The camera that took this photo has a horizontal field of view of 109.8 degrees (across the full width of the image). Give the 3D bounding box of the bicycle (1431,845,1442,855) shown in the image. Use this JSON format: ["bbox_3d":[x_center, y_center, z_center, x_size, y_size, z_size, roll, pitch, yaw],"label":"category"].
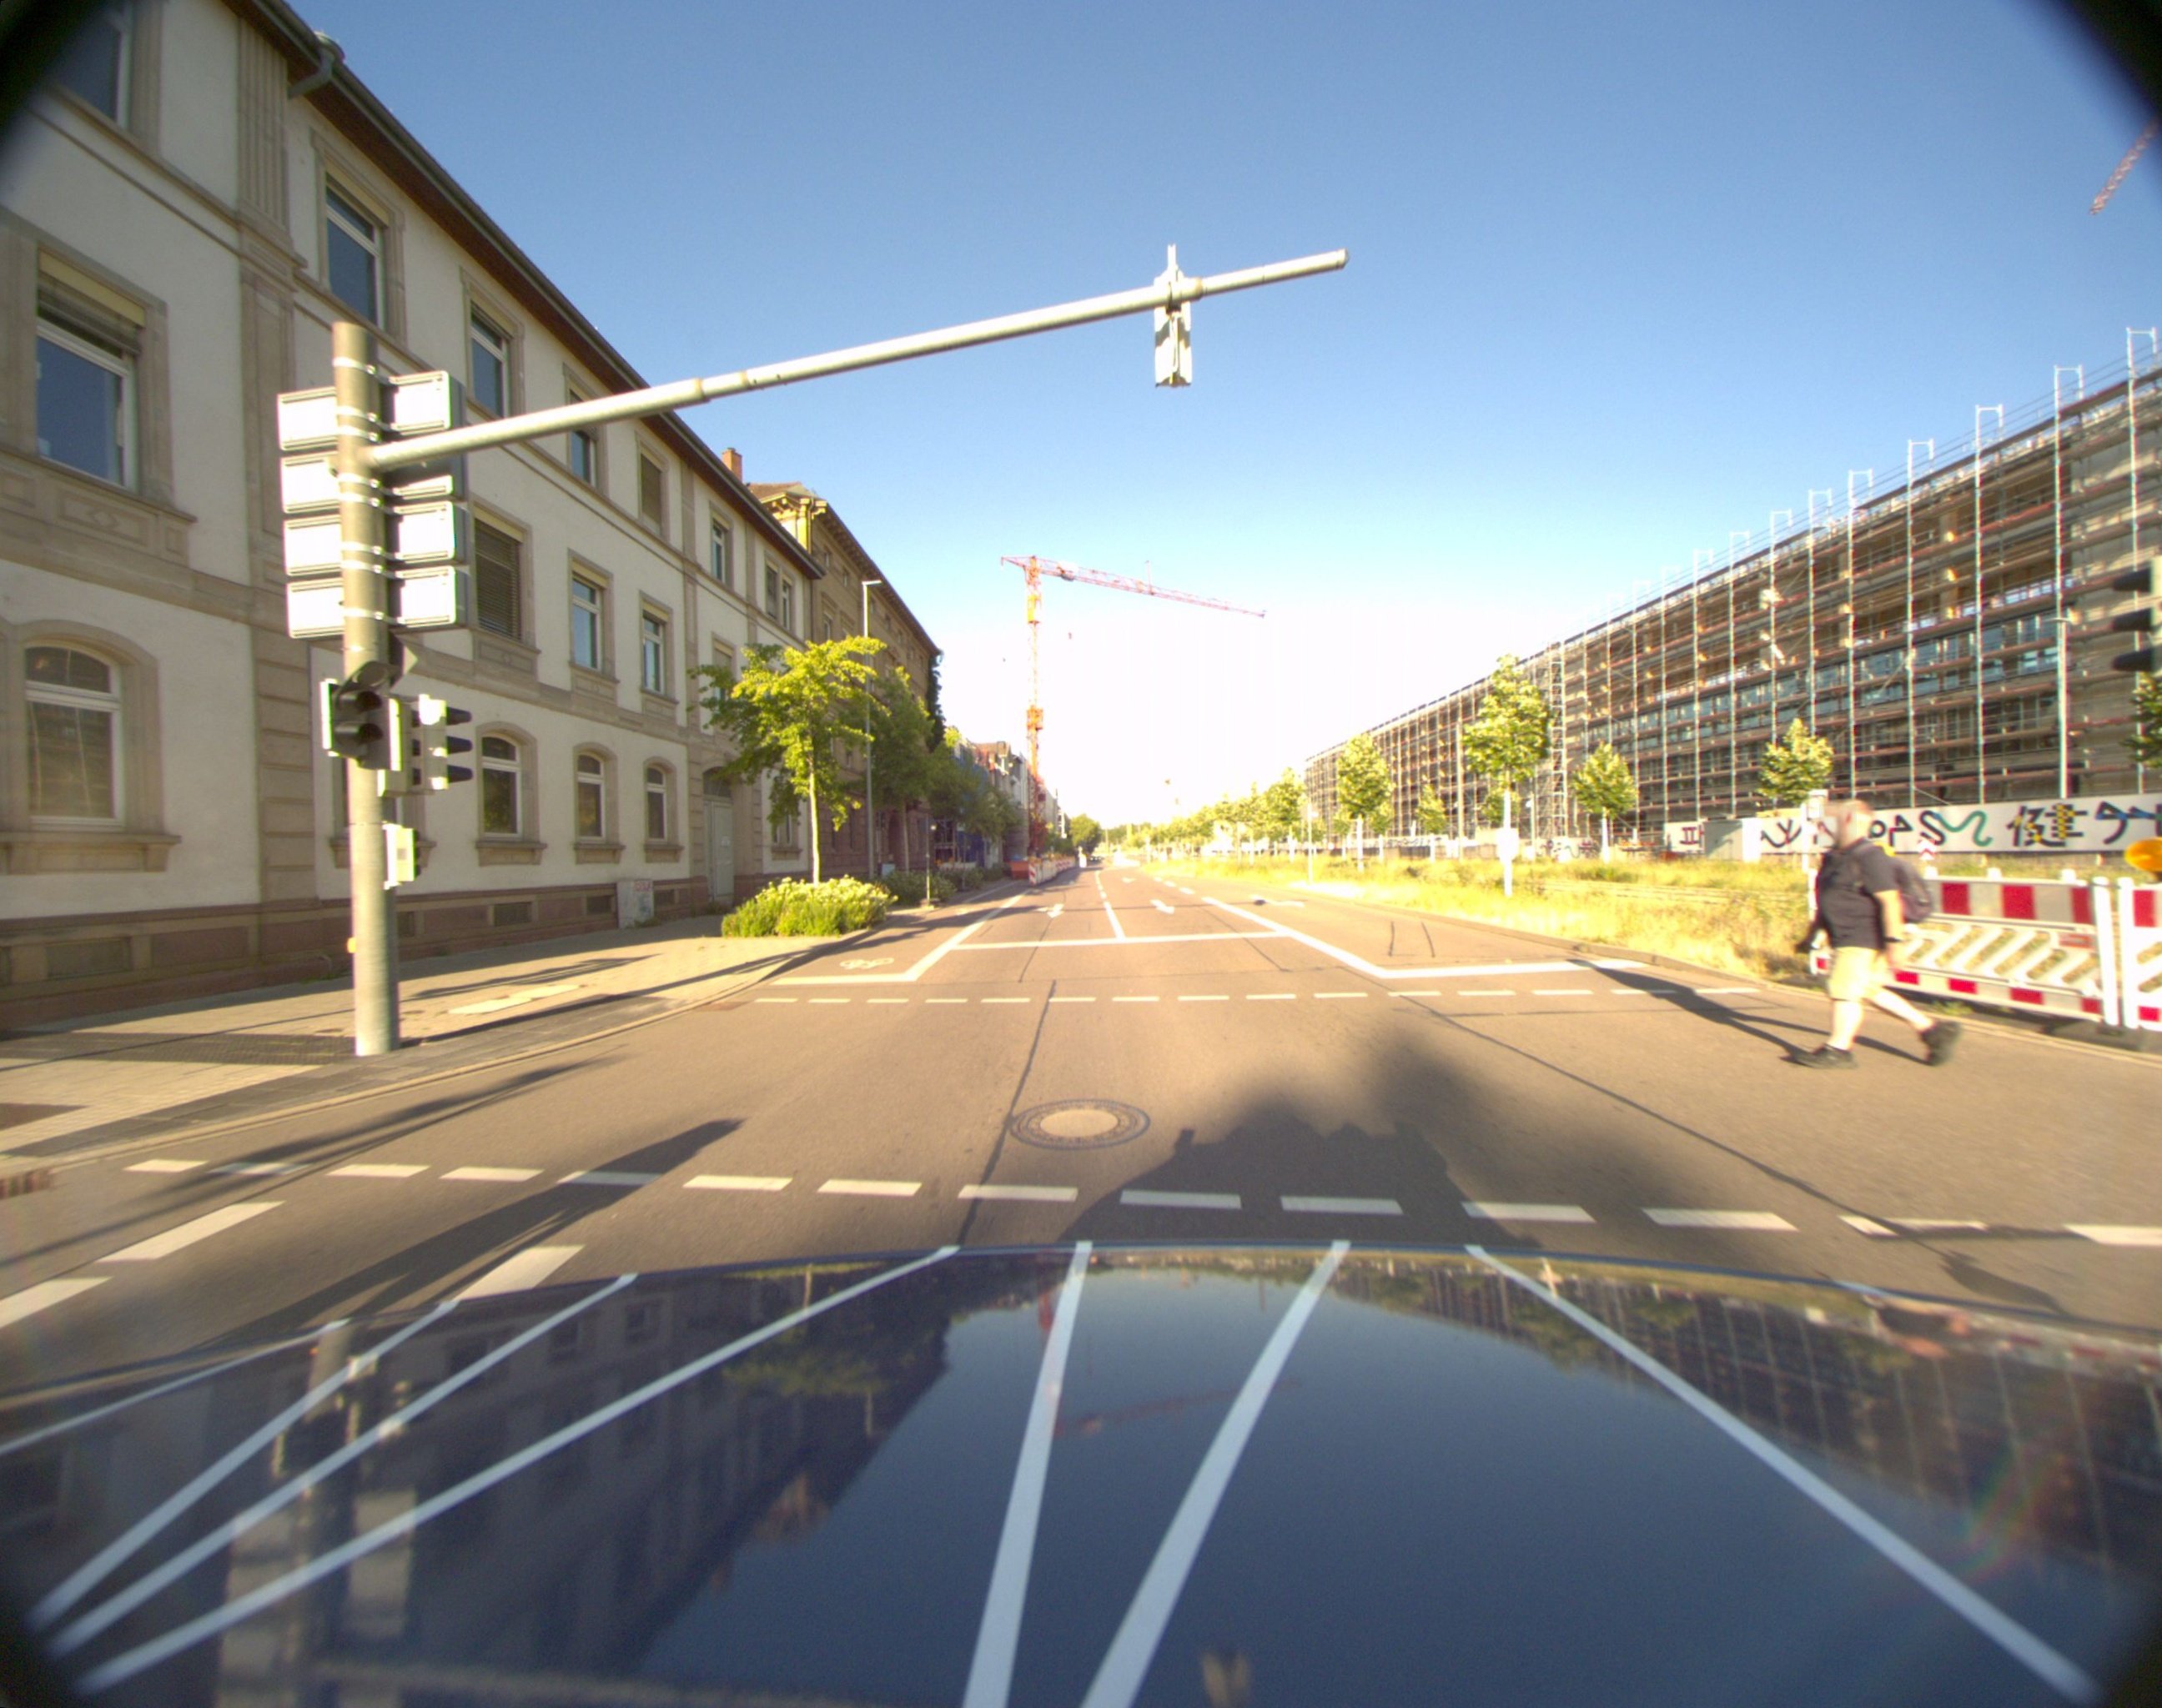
[{"bbox_3d":[39.100,-0.432,83.619,0.480,1.055,1.564,-1,0,1],"label":"bicycle"}]

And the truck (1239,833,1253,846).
[{"bbox_3d":[35.715,-3.152,164.184,2.143,2.559,4.740,-1,0,3],"label":"truck"}]

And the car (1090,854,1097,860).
[{"bbox_3d":[3.320,0.801,201.179,1.998,1.696,4.000,-2,1,1],"label":"car"}]

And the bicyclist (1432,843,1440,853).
[{"bbox_3d":[39.078,-0.648,83.647,0.480,1.147,0.638,-1,1,1],"label":"bicyclist"}]

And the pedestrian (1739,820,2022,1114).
[{"bbox_3d":[4.836,0.637,4.674,0.926,1.639,0.766,-1,1,9],"label":"pedestrian"}]
